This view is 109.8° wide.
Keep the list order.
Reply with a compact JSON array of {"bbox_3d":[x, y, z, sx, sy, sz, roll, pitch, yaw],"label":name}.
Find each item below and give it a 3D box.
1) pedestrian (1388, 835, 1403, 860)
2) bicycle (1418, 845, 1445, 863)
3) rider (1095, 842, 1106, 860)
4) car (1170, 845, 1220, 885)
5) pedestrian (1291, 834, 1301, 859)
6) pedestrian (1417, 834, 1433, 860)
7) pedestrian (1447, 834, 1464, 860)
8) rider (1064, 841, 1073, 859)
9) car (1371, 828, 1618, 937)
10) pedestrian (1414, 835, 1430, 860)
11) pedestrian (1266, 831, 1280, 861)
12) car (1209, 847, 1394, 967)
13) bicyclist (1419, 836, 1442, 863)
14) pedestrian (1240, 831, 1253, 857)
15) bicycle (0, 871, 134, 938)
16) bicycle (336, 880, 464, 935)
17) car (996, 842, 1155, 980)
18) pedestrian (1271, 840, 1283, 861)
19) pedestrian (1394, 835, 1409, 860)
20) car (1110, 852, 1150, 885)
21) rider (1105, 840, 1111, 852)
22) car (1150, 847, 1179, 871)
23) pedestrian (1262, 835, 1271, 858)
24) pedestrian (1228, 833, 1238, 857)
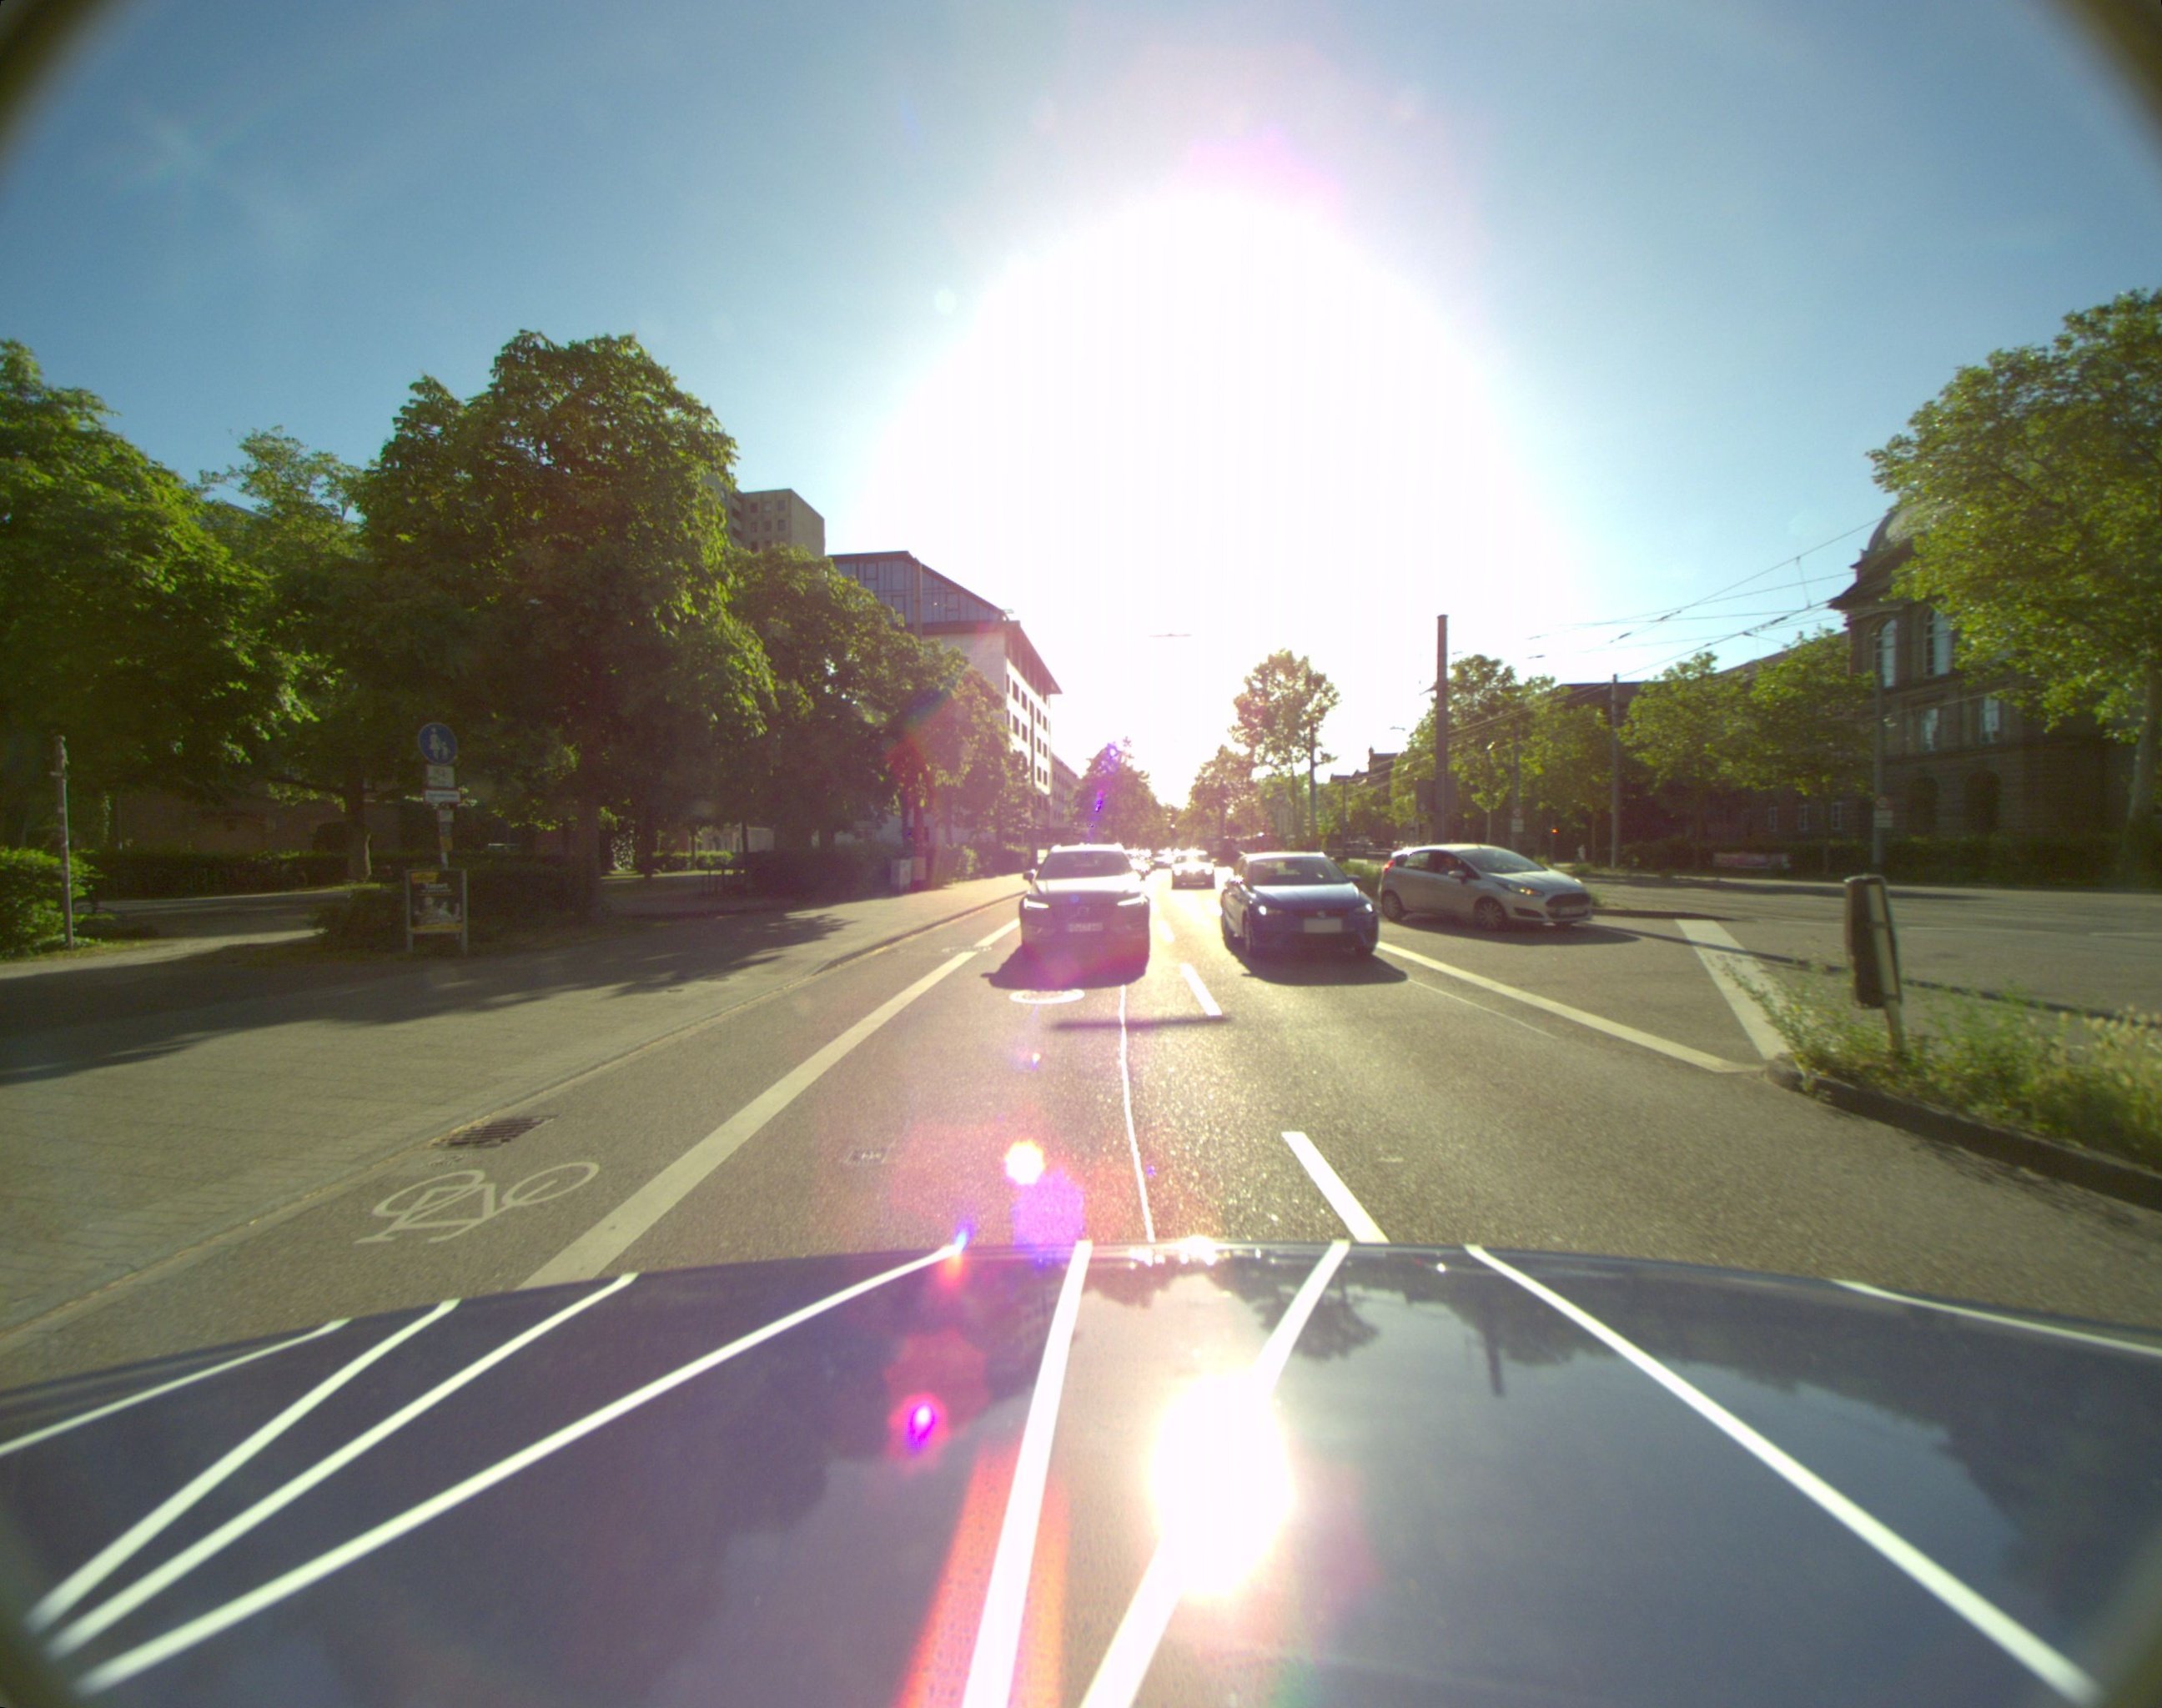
[{"bbox_3d":[21.947,-0.458,53.099,0.595,1.735,0.698,-4,2,-26],"label":"pedestrian"},{"bbox_3d":[22.132,-0.003,47.985,1.665,1.036,0.543,-4,2,-25],"label":"bicycle"},{"bbox_3d":[1.985,-0.315,76.091,0.924,1.668,0.977,-3,1,7],"label":"rider"},{"bbox_3d":[4.596,0.396,31.016,1.798,1.420,4.001,-3,1,6],"label":"car"},{"bbox_3d":[14.614,-0.529,51.735,0.544,1.652,0.730,-2,2,11],"label":"pedestrian"},{"bbox_3d":[23.197,-0.459,51.242,0.595,1.726,0.698,-4,2,-26],"label":"pedestrian"},{"bbox_3d":[24.120,-0.436,48.900,0.595,1.612,0.698,-4,2,-26],"label":"pedestrian"},{"bbox_3d":[-1.101,-0.398,67.421,0.778,1.582,0.790,0,2,3],"label":"rider"},{"bbox_3d":[7.147,0.422,13.622,1.668,1.586,3.858,-3,1,-15],"label":"car"},{"bbox_3d":[22.544,-0.411,50.274,0.595,1.634,0.698,-4,2,-30],"label":"pedestrian"},{"bbox_3d":[11.884,-0.492,47.018,0.646,1.797,0.504,-3,2,-4],"label":"pedestrian"},{"bbox_3d":[3.146,0.659,11.633,1.777,1.440,3.869,-3,1,2],"label":"car"},{"bbox_3d":[22.072,-0.304,47.973,0.970,1.634,0.833,-4,2,-26],"label":"bicyclist"},{"bbox_3d":[13.863,-0.836,63.532,0.785,2.175,0.801,-2,2,27],"label":"pedestrian"},{"bbox_3d":[-19.564,0.949,14.265,0.451,1.123,2.135,-2,1,23],"label":"bicycle"},{"bbox_3d":[-12.290,0.955,13.758,1.679,0.857,0.320,-3,1,-23],"label":"bicycle"},{"bbox_3d":[0.158,0.673,12.068,1.948,1.691,5.307,-1,1,5],"label":"car"},{"bbox_3d":[11.975,-0.204,46.472,0.594,1.226,0.425,-3,2,-4],"label":"pedestrian"},{"bbox_3d":[21.872,-0.451,51.868,0.595,1.667,0.698,-4,2,-26],"label":"pedestrian"},{"bbox_3d":[2.365,0.646,35.903,1.603,1.387,4.002,-1,1,8],"label":"car"},{"bbox_3d":[3.965,-1.252,112.845,0.758,1.717,0.895,-3,2,5],"label":"rider"},{"bbox_3d":[6.375,0.354,57.485,1.774,1.567,3.825,-3,1,12],"label":"car"},{"bbox_3d":[13.574,-0.548,55.518,0.580,1.652,0.667,-2,2,15],"label":"pedestrian"},{"bbox_3d":[13.186,-0.758,65.860,0.710,2.002,0.787,-3,2,8],"label":"pedestrian"}]
